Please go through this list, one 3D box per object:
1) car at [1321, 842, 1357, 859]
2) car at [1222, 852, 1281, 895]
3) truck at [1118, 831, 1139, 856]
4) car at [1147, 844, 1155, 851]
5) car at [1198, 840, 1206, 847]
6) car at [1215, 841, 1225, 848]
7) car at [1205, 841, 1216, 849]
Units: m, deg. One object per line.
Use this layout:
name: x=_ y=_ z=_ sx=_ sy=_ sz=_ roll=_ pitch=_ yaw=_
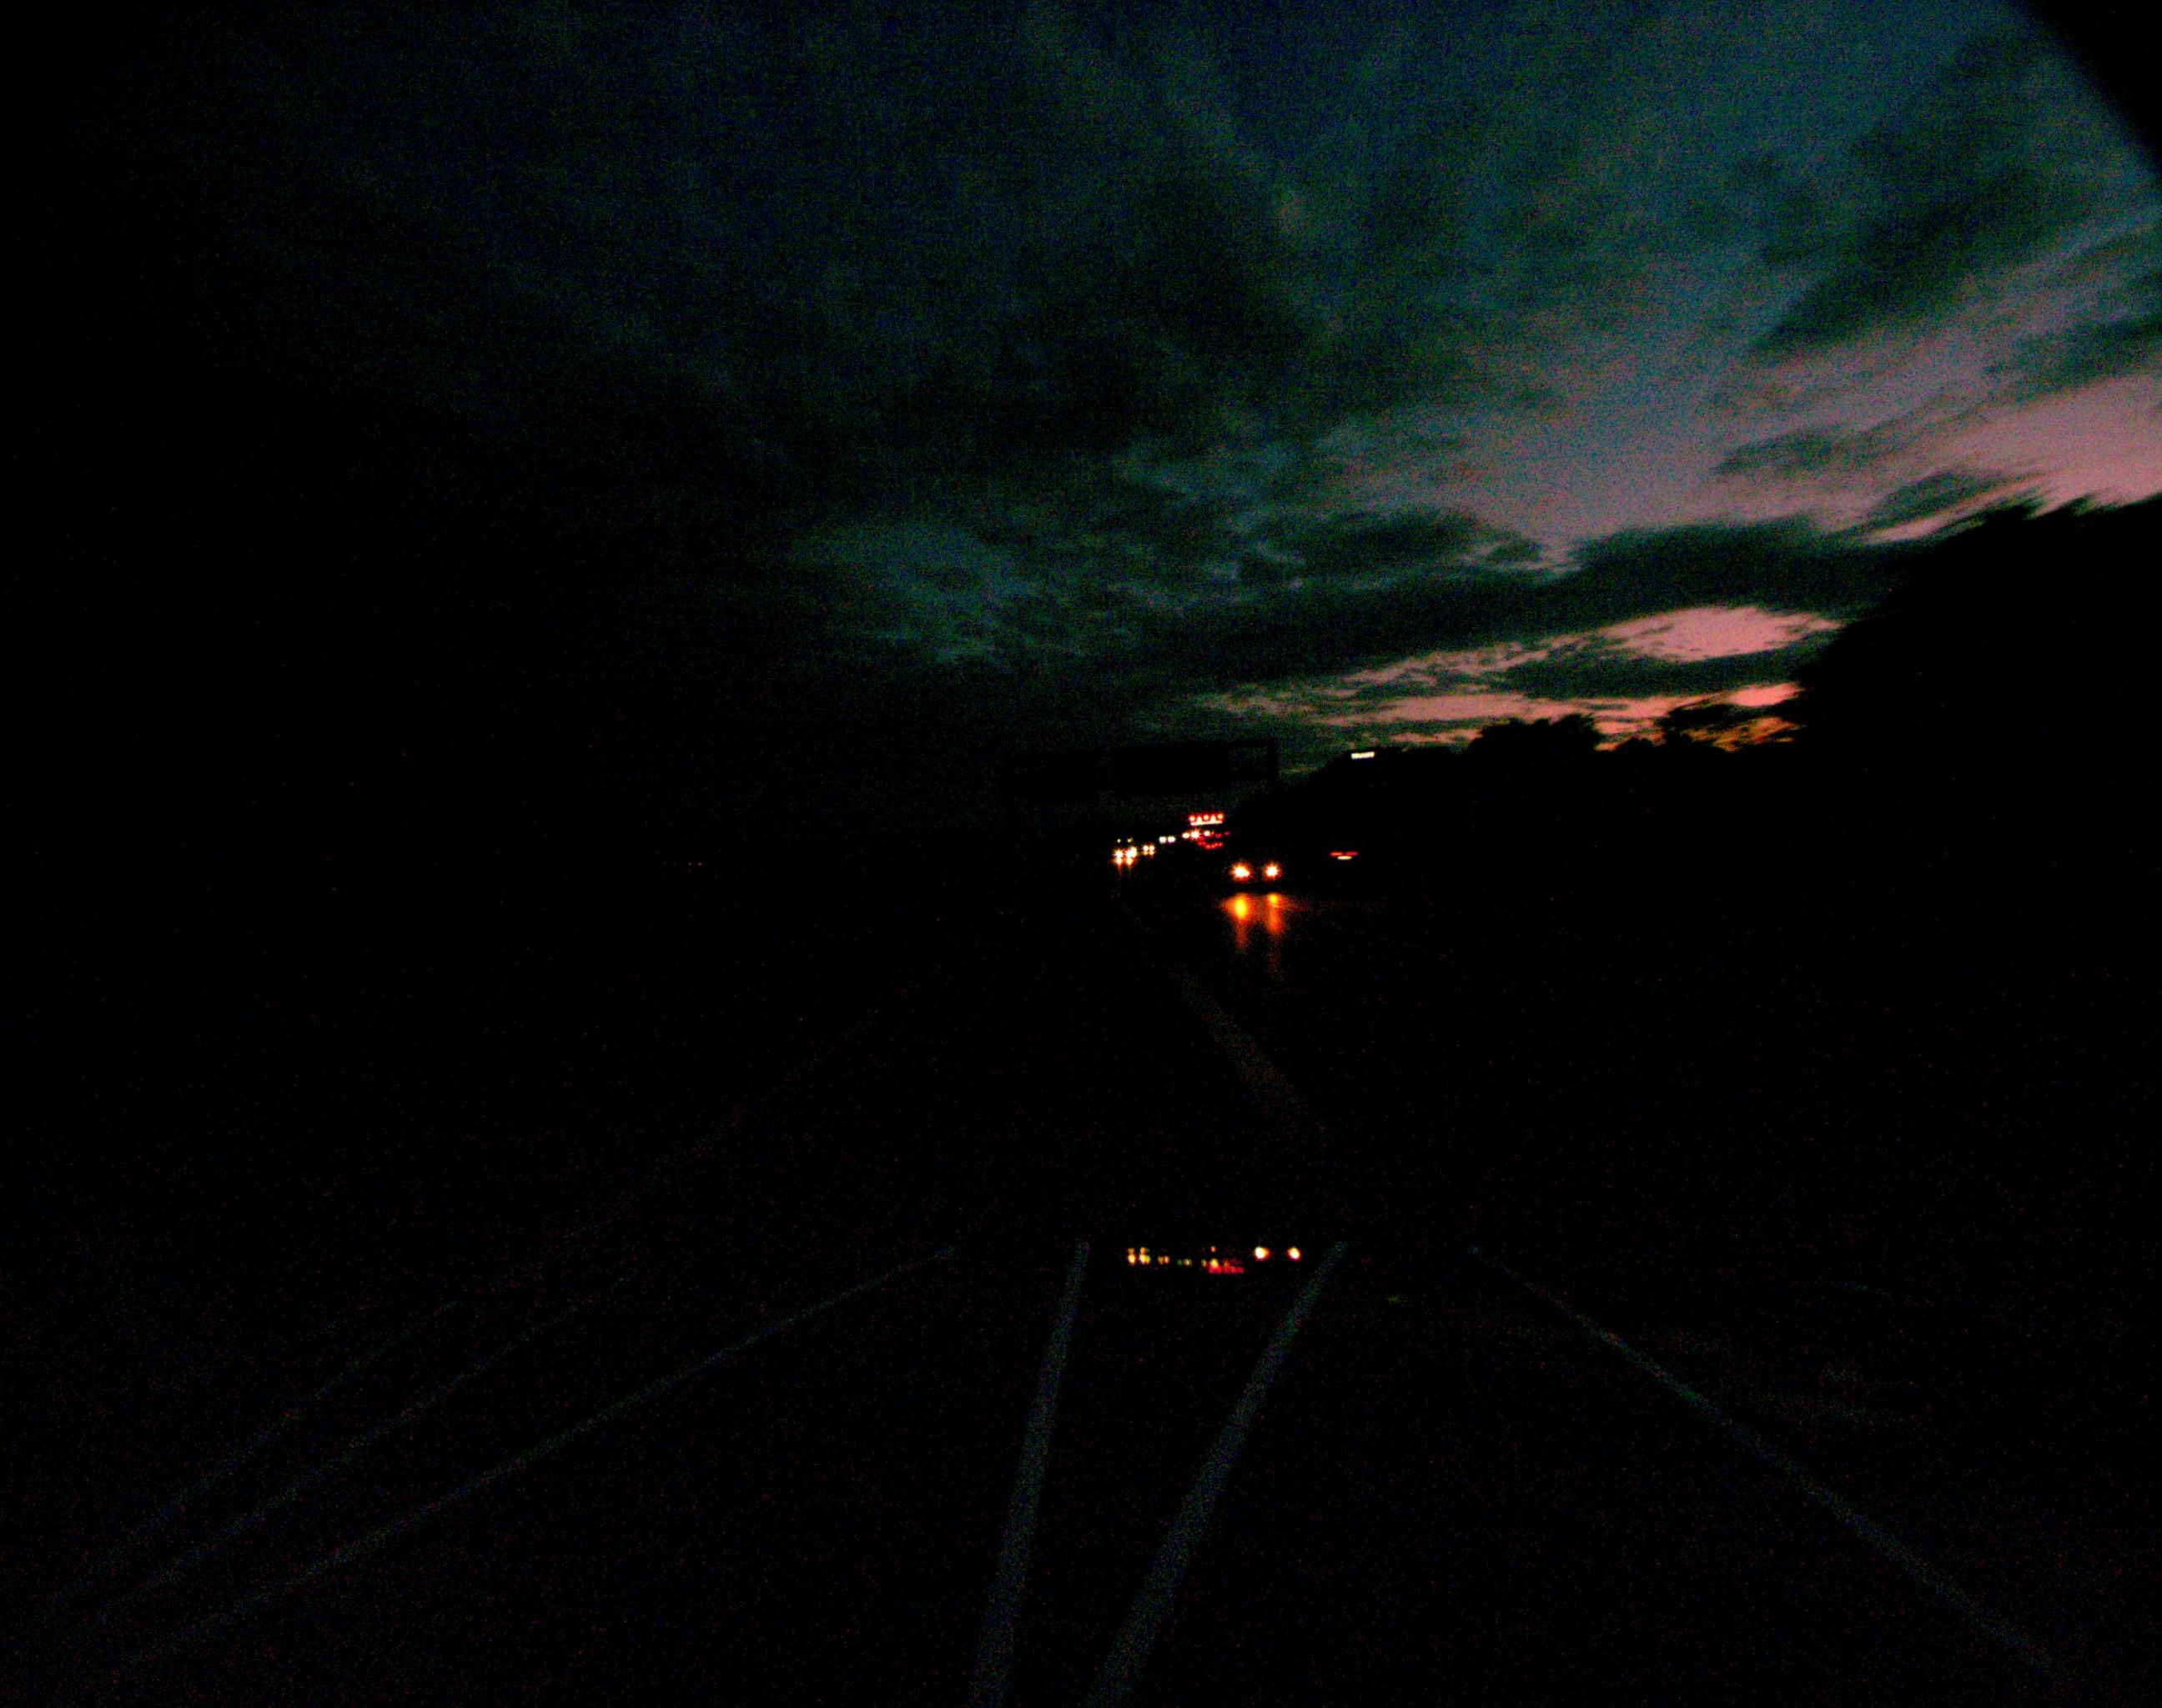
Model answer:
car: x=24.092 y=-0.330 z=71.007 sx=1.998 sy=1.411 sz=4.151 roll=-3 pitch=1 yaw=2
car: x=7.084 y=0.755 z=31.939 sx=1.717 sy=1.471 sz=3.999 roll=-3 pitch=2 yaw=3
truck: x=9.134 y=-2.112 z=145.583 sx=3.025 sy=4.373 sz=11.617 roll=-2 pitch=2 yaw=7
car: x=18.672 y=-1.855 z=202.247 sx=1.653 sy=1.655 sz=3.774 roll=-3 pitch=2 yaw=1
car: x=38.360 y=-3.317 z=240.661 sx=1.879 sy=1.883 sz=5.057 roll=-3 pitch=2 yaw=4
car: x=40.468 y=-2.808 z=221.494 sx=1.998 sy=1.883 sz=5.057 roll=-3 pitch=2 yaw=4
car: x=32.797 y=-2.373 z=192.728 sx=1.998 sy=1.883 sz=4.678 roll=-3 pitch=2 yaw=2
